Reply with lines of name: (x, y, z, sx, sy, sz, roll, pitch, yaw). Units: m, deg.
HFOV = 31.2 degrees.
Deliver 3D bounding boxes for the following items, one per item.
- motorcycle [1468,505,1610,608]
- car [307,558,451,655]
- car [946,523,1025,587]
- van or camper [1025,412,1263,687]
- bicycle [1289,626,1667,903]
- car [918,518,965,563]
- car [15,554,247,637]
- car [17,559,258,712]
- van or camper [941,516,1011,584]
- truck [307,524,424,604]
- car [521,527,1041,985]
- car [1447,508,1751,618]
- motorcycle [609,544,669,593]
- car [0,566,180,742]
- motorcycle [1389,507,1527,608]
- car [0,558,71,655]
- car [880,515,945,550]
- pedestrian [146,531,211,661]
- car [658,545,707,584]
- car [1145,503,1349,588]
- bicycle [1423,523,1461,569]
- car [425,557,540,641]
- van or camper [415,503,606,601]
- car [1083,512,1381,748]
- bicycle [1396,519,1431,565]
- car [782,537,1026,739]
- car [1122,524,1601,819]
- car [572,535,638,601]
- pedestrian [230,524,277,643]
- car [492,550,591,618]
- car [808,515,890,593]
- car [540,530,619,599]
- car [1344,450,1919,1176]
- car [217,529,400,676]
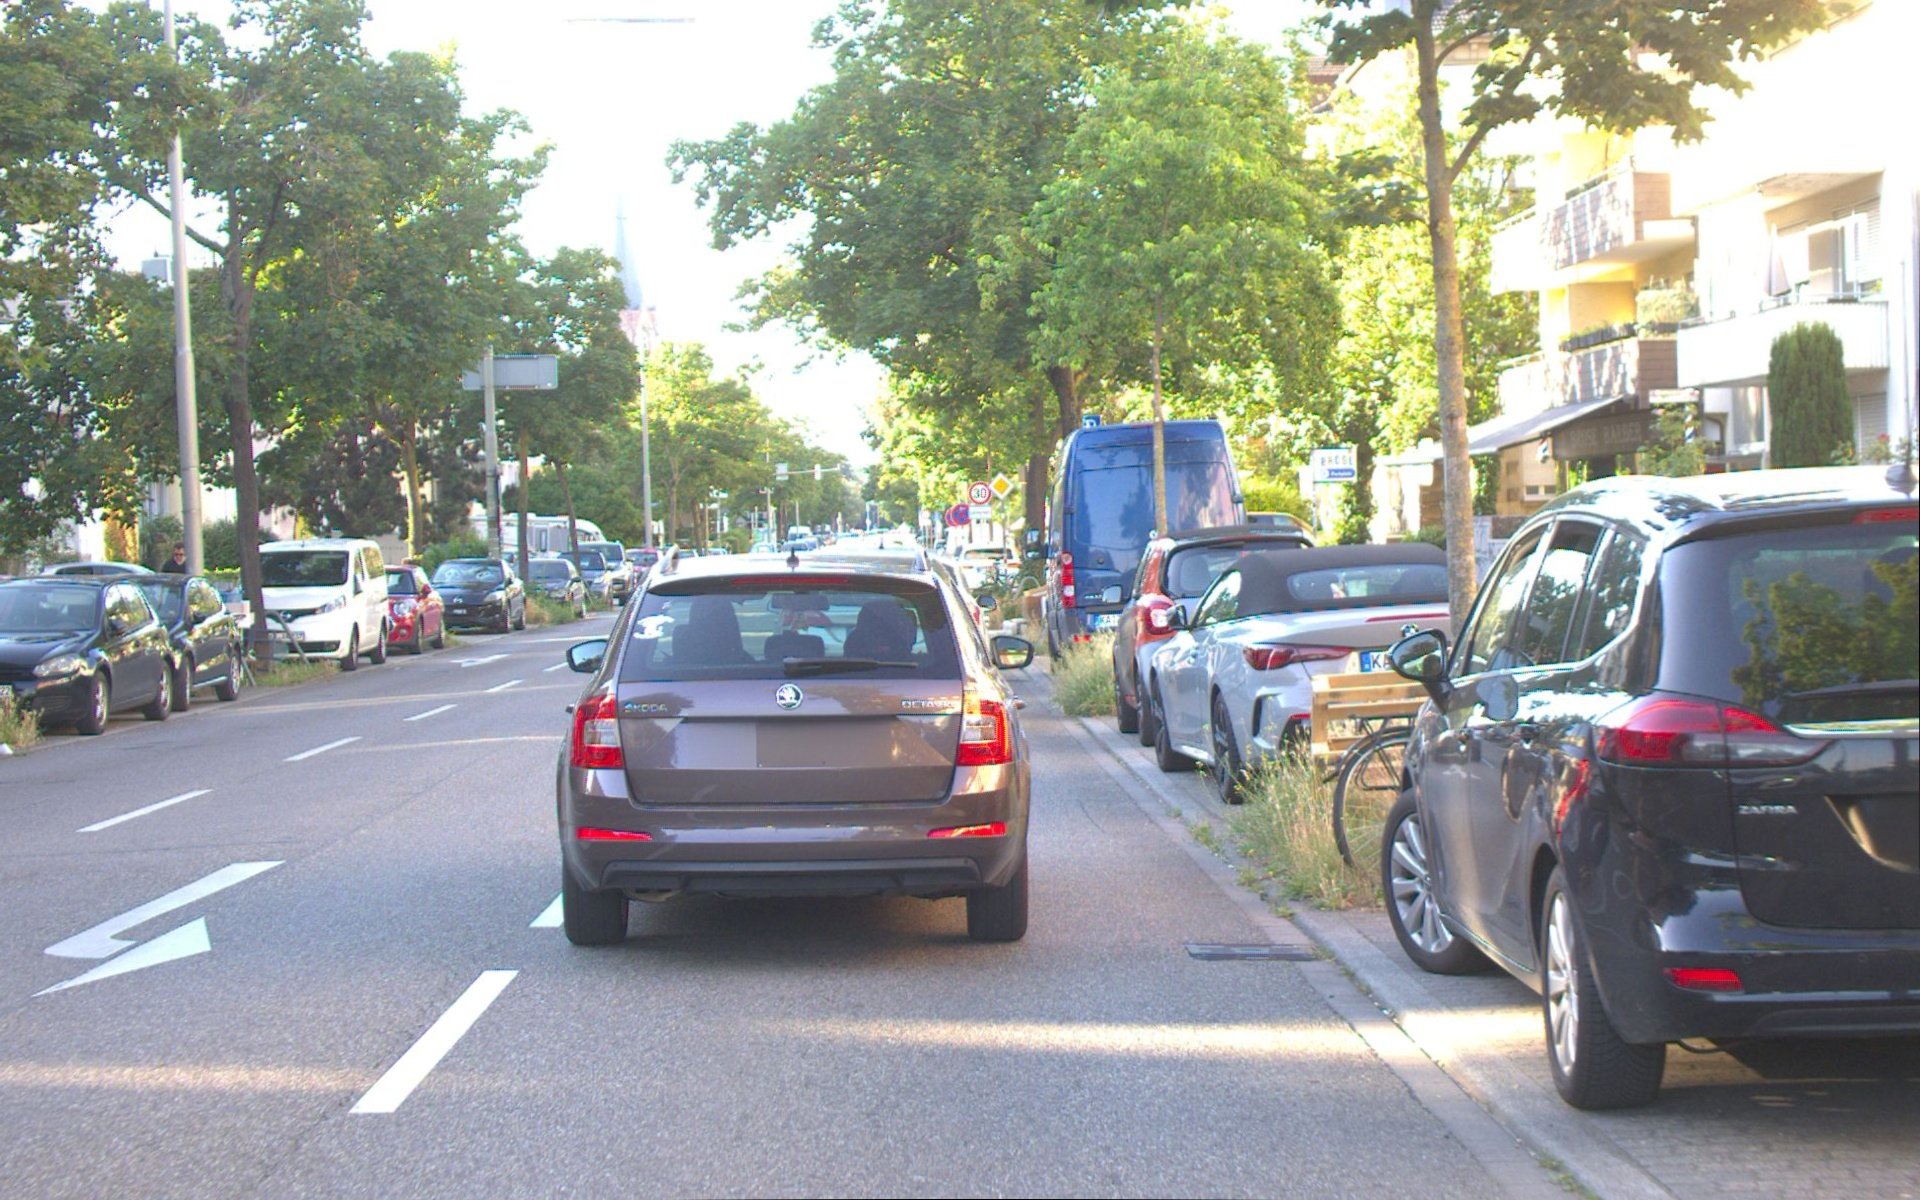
motorcycle: (9.416, -0.715, 55.963, 2.195, 1.615, 0.889, -1, 1, 6)
car: (-9.372, 0.086, 55.733, 1.717, 1.416, 3.787, -2, 2, -1)
car: (0.626, -1.100, 82.670, 1.821, 1.408, 4.111, -2, 2, 1)
van or camper: (1.882, -0.529, 37.028, 2.067, 2.666, 5.990, -2, 1, -1)
bicycle: (2.145, 0.667, 14.228, 1.476, 1.055, 0.412, -2, 1, -14)
car: (-0.766, -2.473, 142.339, 1.729, 1.809, 3.951, -2, 2, -3)
car: (-15.652, -0.091, 65.040, 3.986, 1.474, 2.000, -1, 1, -5)
car: (-9.047, 0.347, 38.111, 1.750, 1.497, 3.979, -2, 2, -1)
van or camper: (0.475, -1.562, 106.569, 1.993, 2.006, 4.001, -2, 2, -1)
truck: (-16.210, -0.992, 93.830, 2.913, 2.086, 1.546, -2, 1, -1)
car: (-0.598, 0.490, 13.659, 1.729, 1.488, 3.951, -2, 2, 0)
car: (9.256, -0.549, 49.992, 3.986, 1.457, 1.825, -2, 2, -4)
motorcycle: (-10.041, -0.983, 107.495, 0.764, 1.506, 2.029, -3, 2, -43)
car: (-8.864, 0.480, 33.169, 1.750, 1.497, 4.197, -2, 2, -1)
motorcycle: (8.230, -0.707, 56.872, 2.195, 1.615, 0.731, -1, 1, 6)
car: (-15.557, 0.140, 50.654, 4.709, 1.358, 2.001, -2, 2, -14)
car: (-2.558, -3.656, 185.992, 1.879, 1.751, 4.173, -1, 2, 25)
pedestrian: (-12.303, -0.077, 54.136, 0.767, 2.006, 0.976, -2, 1, -2)
car: (-10.850, -1.412, 134.589, 1.664, 1.427, 3.275, -2, 2, -1)
car: (6.919, -1.323, 82.697, 4.533, 1.886, 1.915, -2, 1, -28)
bicycle: (10.061, -1.126, 71.845, 0.342, 0.947, 1.582, -4, 1, -7)
car: (-9.393, -0.042, 67.879, 1.717, 1.492, 4.248, -2, 2, -1)
van or camper: (-18.732, -2.002, 143.544, 7.639, 3.861, 2.000, -2, 1, -3)
car: (2.013, 0.194, 26.431, 1.772, 1.636, 3.758, -2, 1, -3)
bicycle: (9.551, -1.216, 72.452, 0.342, 0.947, 1.582, 1, 1, -7)
car: (-0.534, 0.257, 28.675, 1.729, 1.488, 3.951, -2, 2, -5)
car: (2.238, 0.323, 20.519, 1.920, 1.481, 4.747, -2, 2, -5)
car: (-10.021, -0.916, 97.132, 1.507, 1.751, 3.694, -2, 2, -1)
pedestrian: (-12.066, -0.284, 58.716, 0.626, 2.006, 0.616, -2, 1, -2)
car: (-9.620, -0.383, 79.290, 1.754, 1.415, 4.426, -2, 2, 0)
car: (-2.461, -1.051, 76.961, 1.732, 1.645, 3.542, -2, 2, -1)
car: (-10.202, -0.976, 92.460, 1.750, 1.734, 3.591, -2, 2, -1)
car: (2.285, 0.417, 10.021, 1.732, 1.645, 4.292, -2, 2, -1)
car: (-9.165, -0.007, 48.688, 1.770, 1.912, 4.460, -2, 2, -1)
